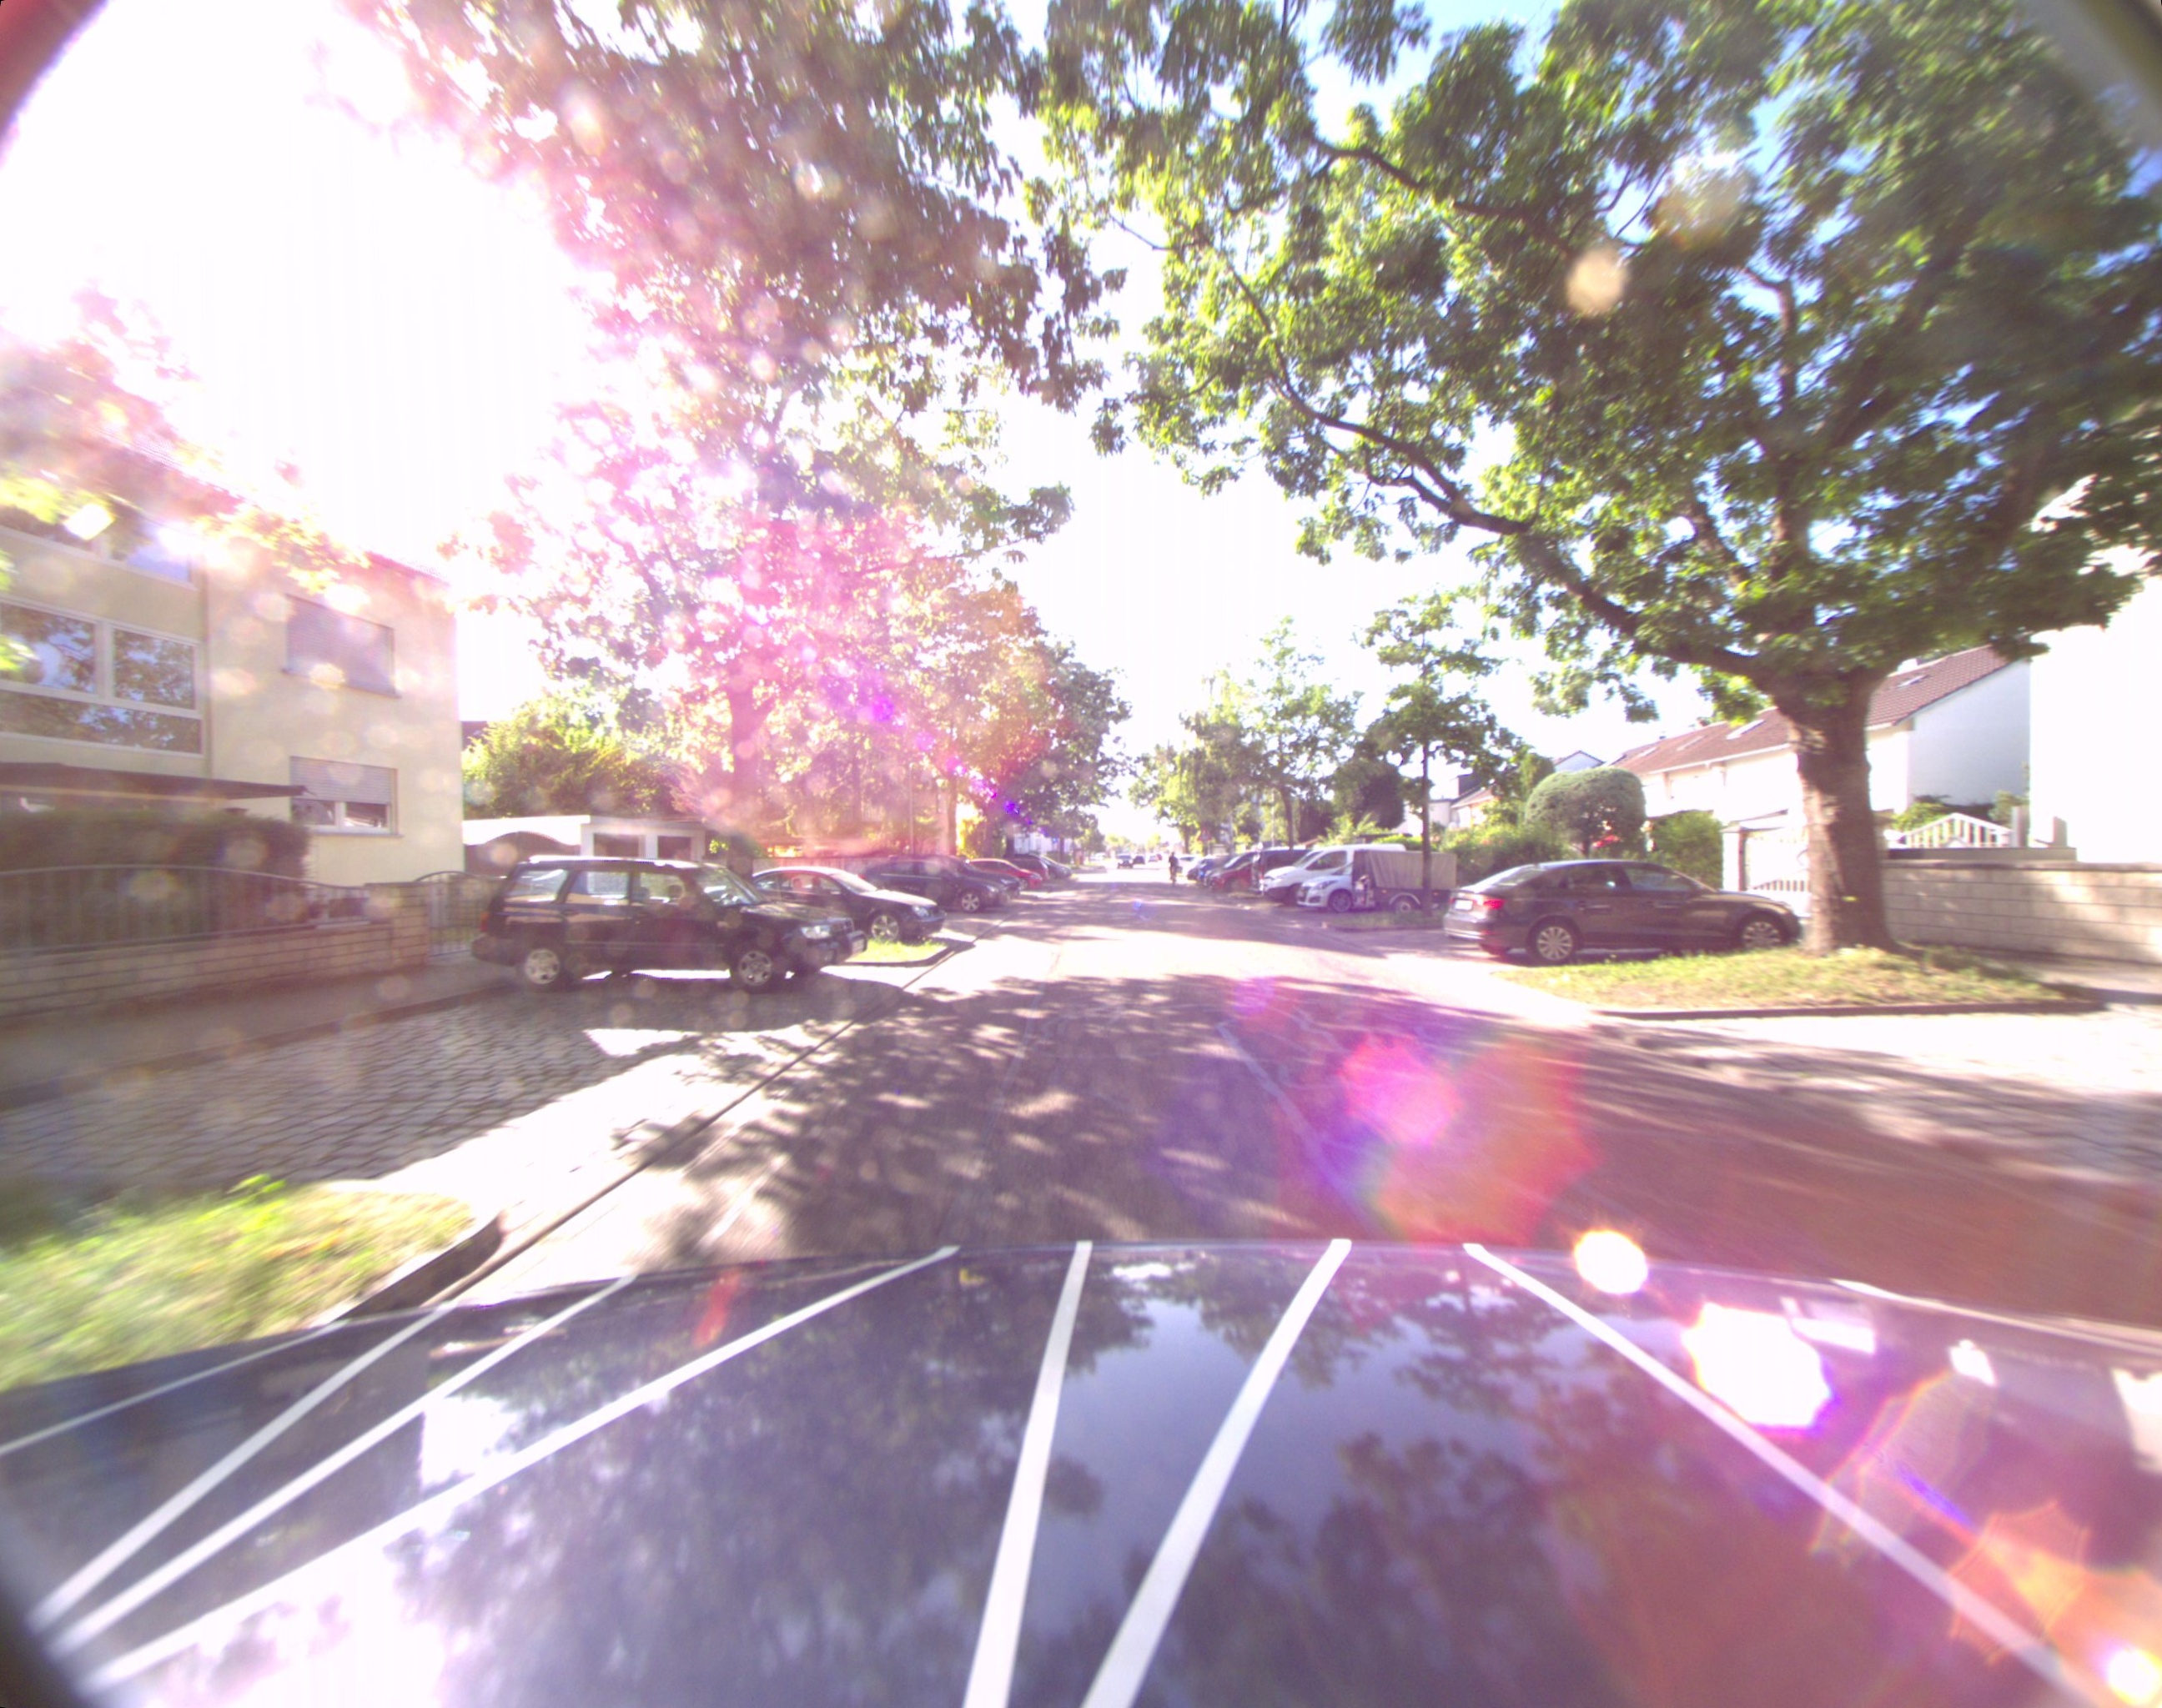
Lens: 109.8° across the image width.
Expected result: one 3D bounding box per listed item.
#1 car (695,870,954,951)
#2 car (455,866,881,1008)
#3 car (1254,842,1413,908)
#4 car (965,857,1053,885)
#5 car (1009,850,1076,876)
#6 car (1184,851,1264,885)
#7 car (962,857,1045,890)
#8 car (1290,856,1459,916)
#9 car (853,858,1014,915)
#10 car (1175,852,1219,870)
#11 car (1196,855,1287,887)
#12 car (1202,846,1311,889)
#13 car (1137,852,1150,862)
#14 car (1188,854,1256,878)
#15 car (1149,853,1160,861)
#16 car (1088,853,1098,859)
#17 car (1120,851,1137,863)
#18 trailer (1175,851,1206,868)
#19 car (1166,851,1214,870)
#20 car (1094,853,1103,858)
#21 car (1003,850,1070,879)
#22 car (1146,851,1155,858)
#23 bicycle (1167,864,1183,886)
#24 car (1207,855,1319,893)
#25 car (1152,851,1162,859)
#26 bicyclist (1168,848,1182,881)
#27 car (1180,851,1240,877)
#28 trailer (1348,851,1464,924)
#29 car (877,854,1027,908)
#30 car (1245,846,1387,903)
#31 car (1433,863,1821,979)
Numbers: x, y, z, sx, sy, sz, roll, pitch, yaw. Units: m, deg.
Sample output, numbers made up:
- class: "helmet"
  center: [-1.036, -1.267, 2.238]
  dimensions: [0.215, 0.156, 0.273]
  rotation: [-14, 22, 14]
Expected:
- class: "car"
  center: [-4.852, 1.044, 14.735]
  dimensions: [4.437, 1.323, 1.691]
  rotation: [1, 1, 3]
- class: "car"
  center: [-4.965, 0.962, 9.607]
  dimensions: [4.349, 1.551, 1.867]
  rotation: [1, 1, 0]
- class: "car"
  center: [7.728, 0.624, 23.552]
  dimensions: [4.247, 1.933, 2.000]
  rotation: [-1, 0, -1]
- class: "car"
  center: [-3.890, 0.900, 41.503]
  dimensions: [4.513, 1.437, 1.838]
  rotation: [1, 1, 3]
- class: "car"
  center: [-2.701, 0.614, 53.434]
  dimensions: [4.513, 1.670, 1.879]
  rotation: [2, 1, 2]
- class: "car"
  center: [8.085, 0.766, 43.170]
  dimensions: [4.220, 1.714, 1.761]
  rotation: [-2, 1, 2]
- class: "car"
  center: [-3.701, 0.903, 36.701]
  dimensions: [3.786, 1.476, 1.755]
  rotation: [1, 1, 3]
- class: "car"
  center: [7.978, 0.847, 20.857]
  dimensions: [3.998, 1.507, 1.690]
  rotation: [-1, 1, -2]
- class: "car"
  center: [-4.224, 0.908, 22.224]
  dimensions: [4.330, 1.521, 1.841]
  rotation: [1, 0, 1]
- class: "car"
  center: [9.966, 0.609, 65.609]
  dimensions: [3.523, 1.487, 1.708]
  rotation: [-1, 0, 1]
- class: "car"
  center: [8.123, 0.855, 38.682]
  dimensions: [4.282, 1.416, 1.723]
  rotation: [-2, 0, 1]
- class: "car"
  center: [8.198, 0.623, 35.834]
  dimensions: [4.685, 1.758, 1.795]
  rotation: [-2, 0, 1]
- class: "car"
  center: [9.326, 0.465, 113.386]
  dimensions: [1.741, 1.532, 3.949]
  rotation: [-1, 0, 7]
- class: "car"
  center: [8.910, 0.753, 48.247]
  dimensions: [4.010, 1.506, 1.795]
  rotation: [-1, 0, 4]
- class: "car"
  center: [12.553, 0.482, 129.974]
  dimensions: [1.764, 1.390, 3.852]
  rotation: [-1, 0, 6]
- class: "car"
  center: [2.916, 0.445, 182.299]
  dimensions: [1.944, 1.412, 4.001]
  rotation: [-1, 0, 5]
- class: "car"
  center: [5.598, 0.336, 89.144]
  dimensions: [1.877, 1.469, 3.852]
  rotation: [-1, 0, 5]
- class: "trailer"
  center: [10.439, 0.512, 72.781]
  dimensions: [2.766, 1.638, 1.299]
  rotation: [-1, 1, -1]
- class: "car"
  center: [9.748, 0.566, 68.085]
  dimensions: [3.964, 1.565, 1.921]
  rotation: [-1, 0, -4]
- class: "car"
  center: [4.485, 0.430, 195.534]
  dimensions: [1.830, 1.324, 3.679]
  rotation: [-1, 0, 6]
- class: "car"
  center: [-2.911, 0.665, 50.444]
  dimensions: [4.221, 1.771, 1.789]
  rotation: [1, 1, 3]
- class: "car"
  center: [15.464, 0.170, 169.548]
  dimensions: [1.877, 1.469, 3.852]
  rotation: [-1, 0, 5]
- class: "bicycle"
  center: [4.939, 1.087, 40.012]
  dimensions: [0.598, 1.052, 1.986]
  rotation: [2, 1, 2]
- class: "car"
  center: [7.915, 0.862, 33.364]
  dimensions: [4.486, 1.491, 1.837]
  rotation: [-1, 1, 3]
- class: "car"
  center: [14.076, 0.204, 140.300]
  dimensions: [1.764, 1.469, 3.852]
  rotation: [-1, 0, 5]
- class: "bicyclist"
  center: [4.958, 0.545, 40.041]
  dimensions: [0.597, 1.664, 0.975]
  rotation: [2, 1, 2]
- class: "car"
  center: [9.059, 0.680, 53.432]
  dimensions: [3.947, 1.604, 1.706]
  rotation: [-2, 0, 4]
- class: "trailer"
  center: [7.810, 0.786, 18.408]
  dimensions: [2.240, 1.664, 1.475]
  rotation: [-1, 0, 5]
- class: "car"
  center: [-4.177, 0.858, 25.055]
  dimensions: [4.584, 1.637, 1.838]
  rotation: [1, 1, 1]
- class: "car"
  center: [8.041, 0.669, 26.274]
  dimensions: [4.249, 1.760, 1.967]
  rotation: [-2, 1, -1]
- class: "car"
  center: [7.487, 0.896, 10.765]
  dimensions: [4.219, 1.463, 1.691]
  rotation: [-1, 1, 3]
